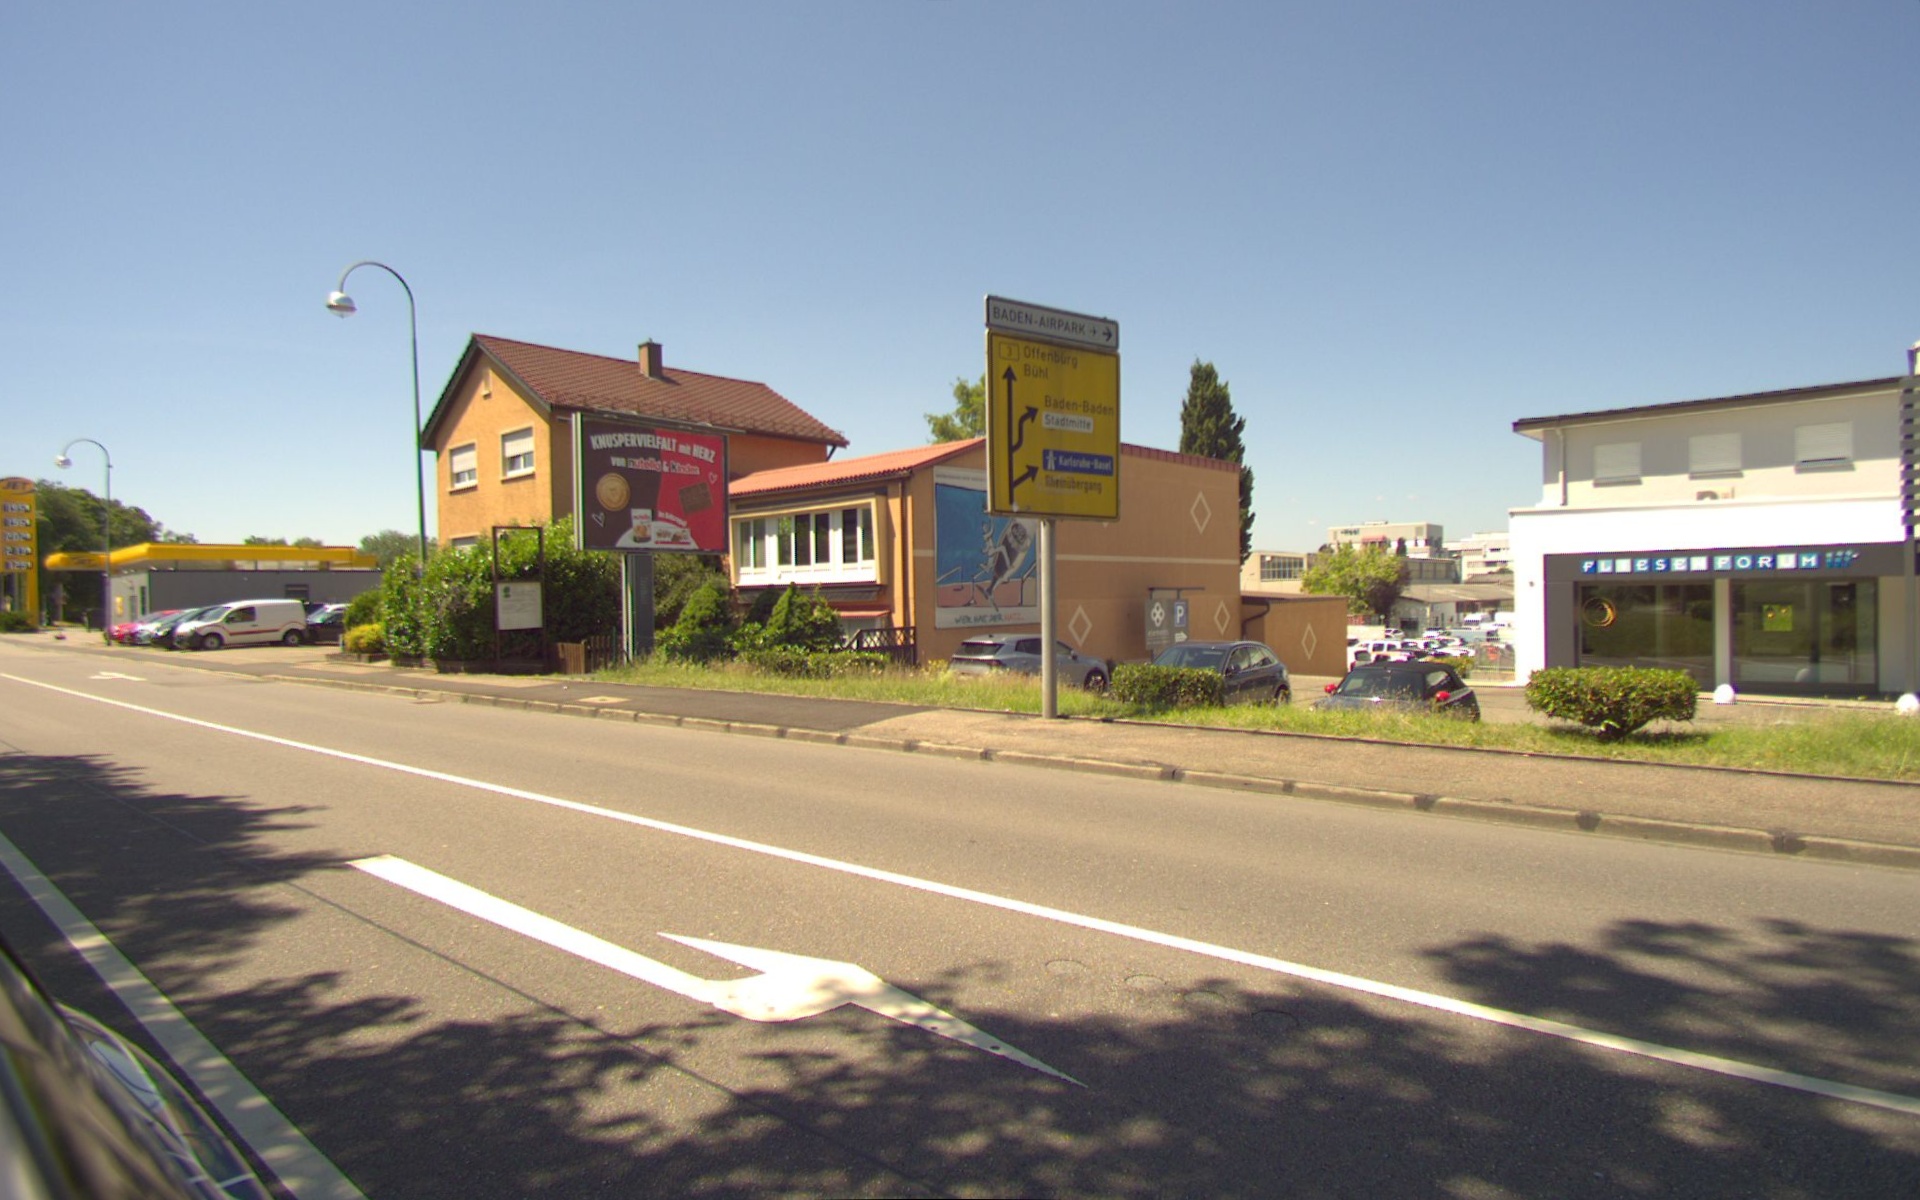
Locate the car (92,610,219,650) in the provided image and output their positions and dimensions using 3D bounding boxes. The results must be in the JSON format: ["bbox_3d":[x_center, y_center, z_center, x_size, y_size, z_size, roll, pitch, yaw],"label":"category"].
[{"bbox_3d":[-37.860,1.380,47.714,1.871,1.773,4.351,-1,-1,35],"label":"car"}]

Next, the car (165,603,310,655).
[{"bbox_3d":[-27.565,1.056,38.736,1.871,1.883,4.143,-1,-1,35],"label":"car"}]

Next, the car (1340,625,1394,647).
[{"bbox_3d":[33.992,2.957,84.593,3.774,1.768,1.707,-1,-1,44],"label":"car"}]

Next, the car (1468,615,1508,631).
[{"bbox_3d":[61.521,2.693,117.885,3.774,1.768,1.707,-2,-1,44],"label":"car"}]

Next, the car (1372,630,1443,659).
[{"bbox_3d":[28.299,2.789,64.047,3.774,1.768,1.707,-1,-1,44],"label":"car"}]

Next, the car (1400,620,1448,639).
[{"bbox_3d":[44.700,2.844,97.513,3.774,1.768,1.707,-1,0,44],"label":"car"}]

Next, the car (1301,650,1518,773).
[{"bbox_3d":[7.257,1.659,16.153,4.039,1.544,1.772,0,-1,-44],"label":"car"}]

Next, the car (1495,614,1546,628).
[{"bbox_3d":[71.746,2.652,129.615,5.303,1.768,2.037,-1,-1,44],"label":"car"}]

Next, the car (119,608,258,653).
[{"bbox_3d":[-32.654,1.252,42.968,1.871,1.773,4.351,-1,-1,35],"label":"car"}]

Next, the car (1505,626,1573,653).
[{"bbox_3d":[39.838,2.699,69.683,3.774,1.768,1.707,-1,-1,44],"label":"car"}]

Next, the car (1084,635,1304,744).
[{"bbox_3d":[4.377,1.521,18.516,4.462,1.654,1.772,0,-1,-44],"label":"car"}]

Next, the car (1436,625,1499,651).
[{"bbox_3d":[36.580,2.740,72.992,3.774,1.768,1.707,-1,-1,44],"label":"car"}]

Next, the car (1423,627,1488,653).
[{"bbox_3d":[34.577,2.762,70.642,3.774,1.768,1.707,-1,-1,44],"label":"car"}]

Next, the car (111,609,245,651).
[{"bbox_3d":[-34.375,1.273,44.592,1.871,1.773,4.351,-1,-1,35],"label":"car"}]

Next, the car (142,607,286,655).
[{"bbox_3d":[-29.321,1.176,39.885,1.871,1.773,4.198,-1,-1,35],"label":"car"}]

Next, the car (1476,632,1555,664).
[{"bbox_3d":[32.691,2.793,59.577,3.774,1.768,1.707,-1,-1,44],"label":"car"}]

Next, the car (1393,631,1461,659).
[{"bbox_3d":[31.109,2.991,67.428,3.774,1.768,1.707,-1,-1,44],"label":"car"}]

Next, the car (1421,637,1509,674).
[{"bbox_3d":[26.370,2.880,52.862,3.774,1.768,1.707,-1,-1,44],"label":"car"}]

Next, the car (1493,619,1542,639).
[{"bbox_3d":[53.079,2.728,96.344,3.774,1.768,1.707,-1,0,44],"label":"car"}]

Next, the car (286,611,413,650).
[{"bbox_3d":[-26.177,1.262,43.519,1.871,1.575,4.351,-1,-1,35],"label":"car"}]

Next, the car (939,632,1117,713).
[{"bbox_3d":[1.649,1.610,23.665,4.165,1.621,1.773,0,-1,-42],"label":"car"}]

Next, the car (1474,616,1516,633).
[{"bbox_3d":[58.963,2.738,111.615,3.774,1.768,1.706,-3,-2,44],"label":"car"}]

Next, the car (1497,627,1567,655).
[{"bbox_3d":[38.232,2.719,67.689,3.774,1.768,1.707,-1,-1,44],"label":"car"}]

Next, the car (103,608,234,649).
[{"bbox_3d":[-35.865,1.265,45.976,1.871,1.773,4.351,-1,-1,35],"label":"car"}]

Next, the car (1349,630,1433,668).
[{"bbox_3d":[24.699,2.762,58.019,4.001,2.029,1.971,-1,-1,44],"label":"car"}]

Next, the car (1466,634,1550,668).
[{"bbox_3d":[30.360,2.807,56.082,3.774,1.768,1.707,-1,-1,44],"label":"car"}]

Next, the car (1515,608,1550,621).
[{"bbox_3d":[76.900,1.984,135.952,3.774,1.768,1.707,-1,-1,44],"label":"car"}]

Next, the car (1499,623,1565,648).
[{"bbox_3d":[42.722,2.654,75.627,4.055,1.768,1.707,-1,-1,44],"label":"car"}]

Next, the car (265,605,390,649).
[{"bbox_3d":[-27.975,1.161,44.912,1.871,1.839,4.351,-1,-1,35],"label":"car"}]
